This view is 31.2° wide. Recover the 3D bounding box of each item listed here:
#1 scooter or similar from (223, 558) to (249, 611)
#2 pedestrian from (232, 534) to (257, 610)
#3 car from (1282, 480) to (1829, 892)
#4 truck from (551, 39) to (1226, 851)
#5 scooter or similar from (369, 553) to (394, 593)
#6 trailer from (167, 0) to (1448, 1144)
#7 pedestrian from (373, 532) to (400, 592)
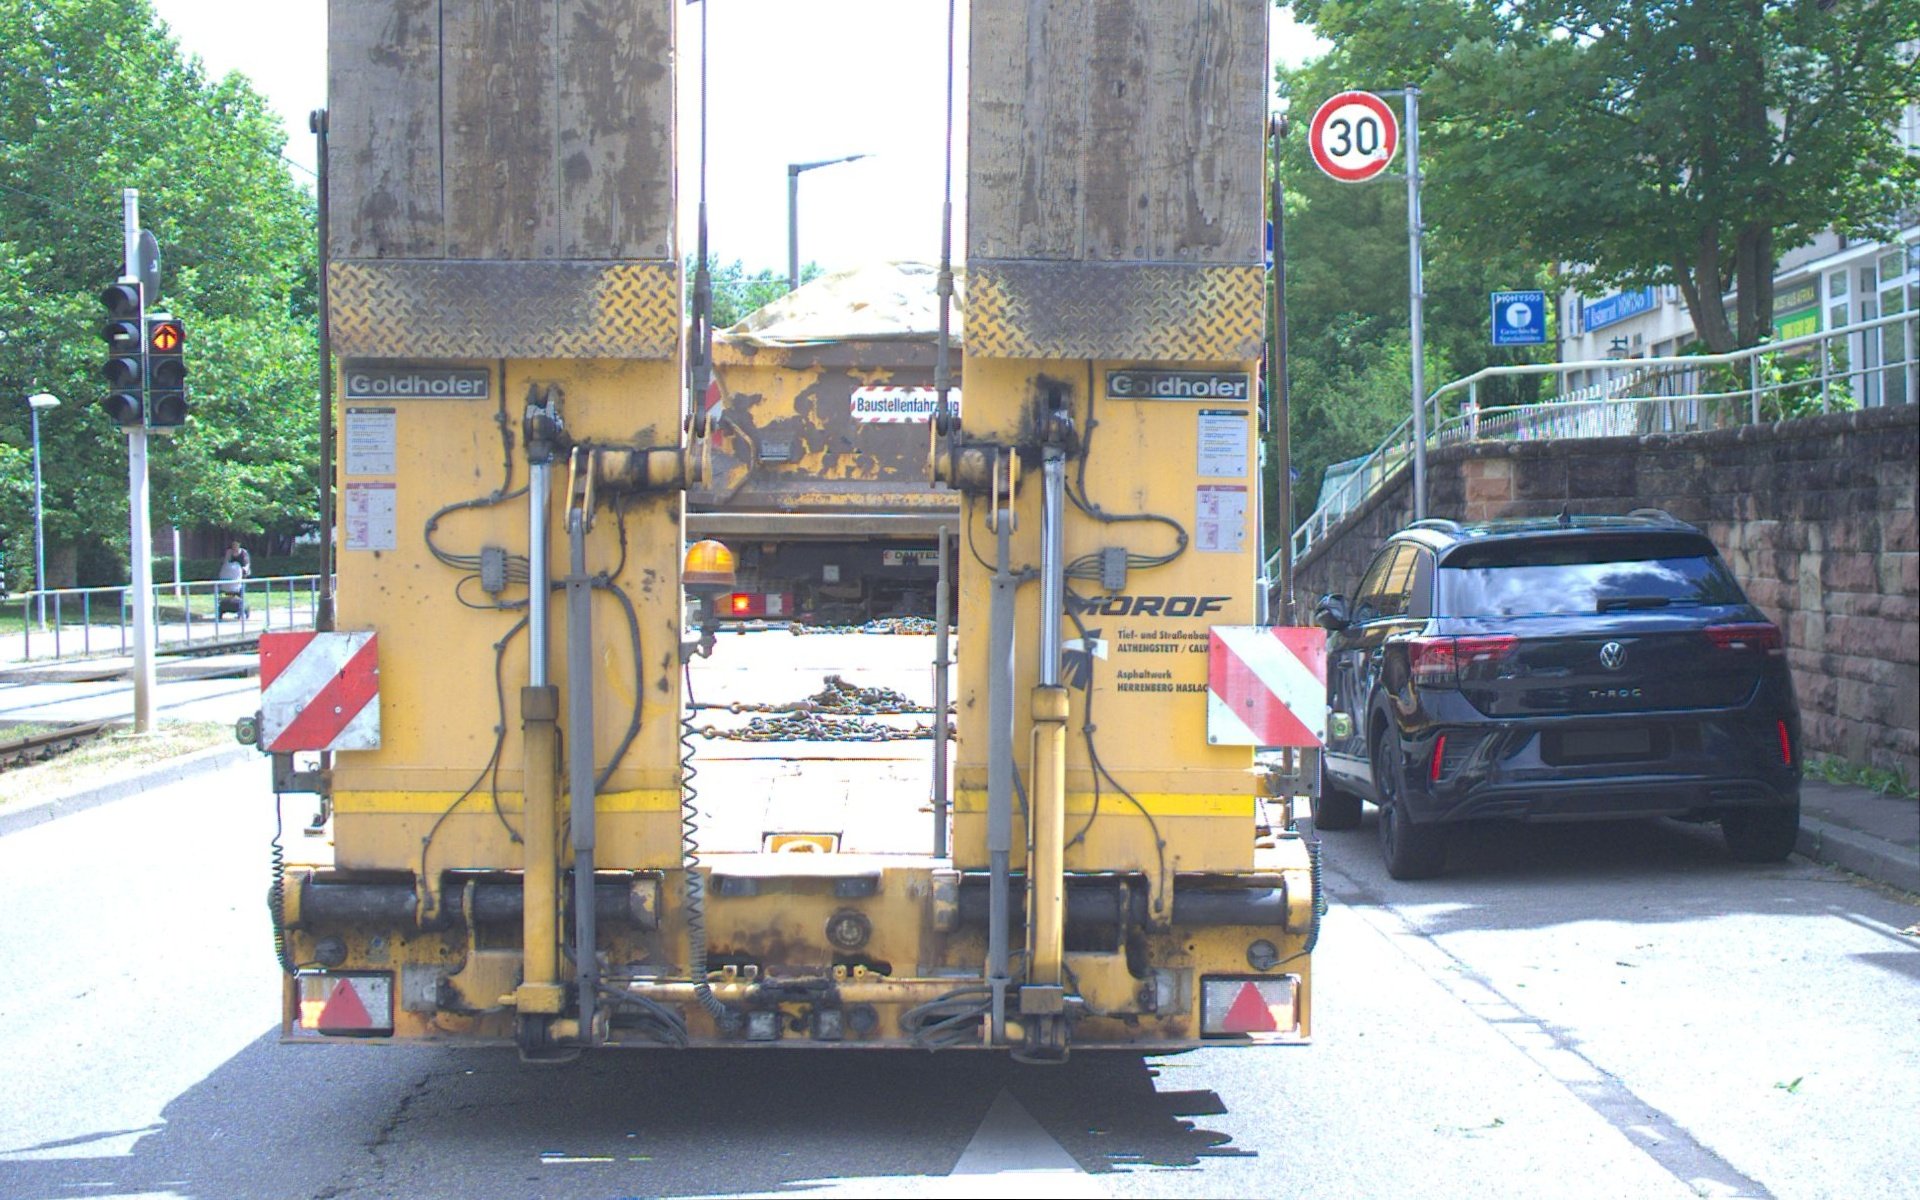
[{"bbox_3d":[-14.661,-0.322,69.596,0.338,1.054,0.687,-1,1,2],"label":"scooter or similar"},{"bbox_3d":[-14.626,-0.574,70.269,0.348,1.531,0.557,-1,1,3],"label":"pedestrian"},{"bbox_3d":[2.649,0.322,16.207,1.851,1.633,4.000,-2,1,0],"label":"car"},{"bbox_3d":[-0.319,-0.733,17.674,2.942,3.560,4.877,-1,1,0],"label":"truck"},{"bbox_3d":[-14.516,-0.678,86.288,0.505,0.968,0.646,1,1,-1],"label":"scooter or similar"},{"bbox_3d":[-0.333,-0.633,12.330,2.945,3.589,8.684,-1,1,0],"label":"trailer"},{"bbox_3d":[-14.502,-0.955,86.935,0.563,1.508,0.646,1,1,-1],"label":"pedestrian"}]
